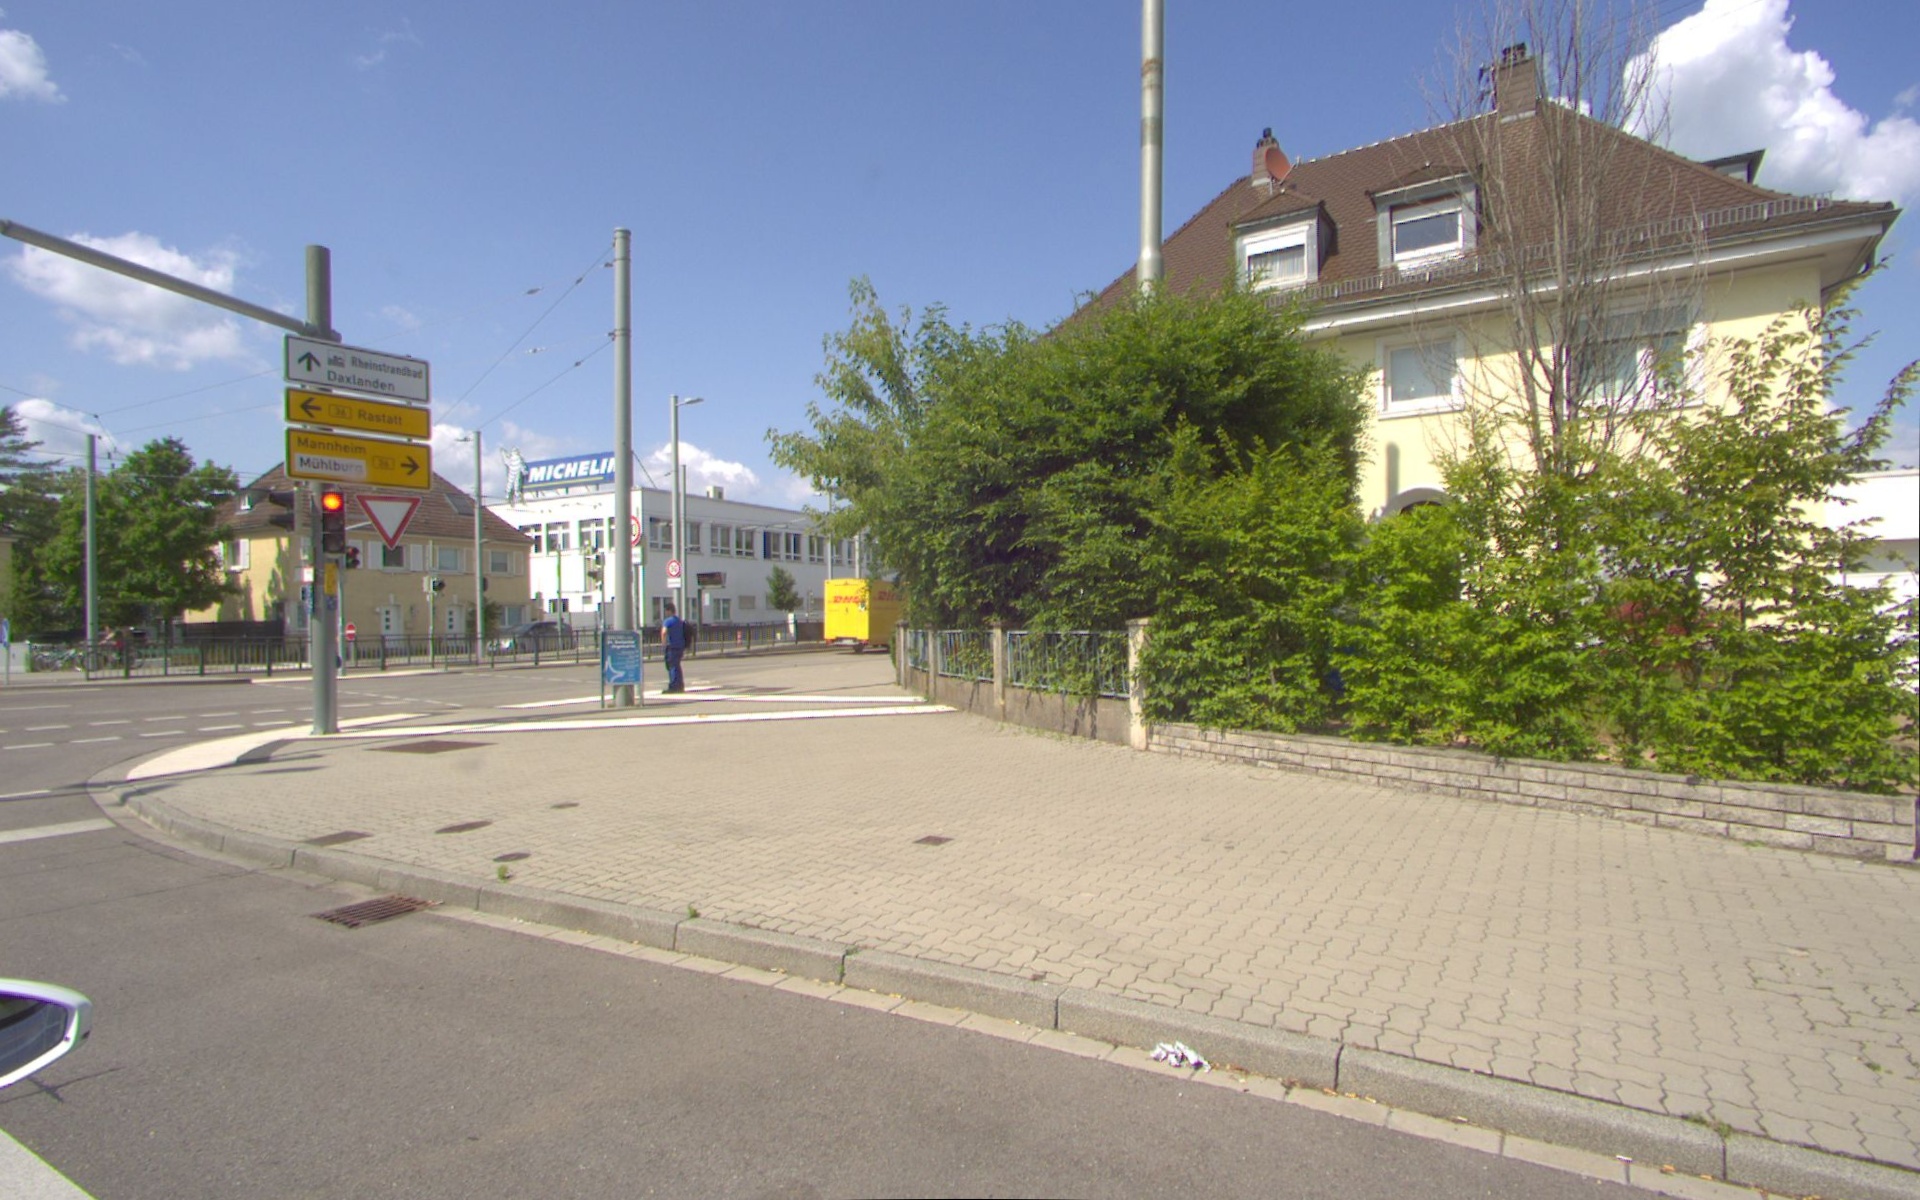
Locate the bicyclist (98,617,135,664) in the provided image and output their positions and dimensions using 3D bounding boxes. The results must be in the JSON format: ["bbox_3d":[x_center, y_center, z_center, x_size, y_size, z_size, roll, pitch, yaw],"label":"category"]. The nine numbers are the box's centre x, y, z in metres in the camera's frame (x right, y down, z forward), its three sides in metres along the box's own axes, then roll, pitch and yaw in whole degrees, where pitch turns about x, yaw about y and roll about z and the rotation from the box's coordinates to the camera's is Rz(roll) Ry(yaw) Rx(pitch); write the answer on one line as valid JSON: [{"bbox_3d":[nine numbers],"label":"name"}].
[{"bbox_3d":[-32.404,1.553,38.476,0.946,1.798,0.716,-1,-1,-28],"label":"bicyclist"}]

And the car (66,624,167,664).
[{"bbox_3d":[-37.599,1.950,44.641,3.934,1.641,1.823,-3,-1,23],"label":"car"}]

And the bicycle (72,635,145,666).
[{"bbox_3d":[-32.452,1.911,38.205,2.003,1.116,0.712,-1,-1,-28],"label":"bicycle"}]

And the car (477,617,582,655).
[{"bbox_3d":[-18.988,1.566,44.333,1.815,1.589,3.981,-1,-1,30],"label":"car"}]

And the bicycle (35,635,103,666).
[{"bbox_3d":[-33.959,1.914,38.176,1.777,1.119,0.701,-1,-1,-19],"label":"bicycle"}]

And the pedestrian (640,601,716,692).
[{"bbox_3d":[-5.629,0.911,20.008,1.025,1.757,1.028,-1,0,29],"label":"pedestrian"}]

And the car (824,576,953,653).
[{"bbox_3d":[-2.814,0.607,41.650,2.034,2.966,6.561,-1,-1,30],"label":"car"}]

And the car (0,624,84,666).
[{"bbox_3d":[-39.393,1.922,42.454,3.934,1.641,1.823,-3,-1,23],"label":"car"}]
